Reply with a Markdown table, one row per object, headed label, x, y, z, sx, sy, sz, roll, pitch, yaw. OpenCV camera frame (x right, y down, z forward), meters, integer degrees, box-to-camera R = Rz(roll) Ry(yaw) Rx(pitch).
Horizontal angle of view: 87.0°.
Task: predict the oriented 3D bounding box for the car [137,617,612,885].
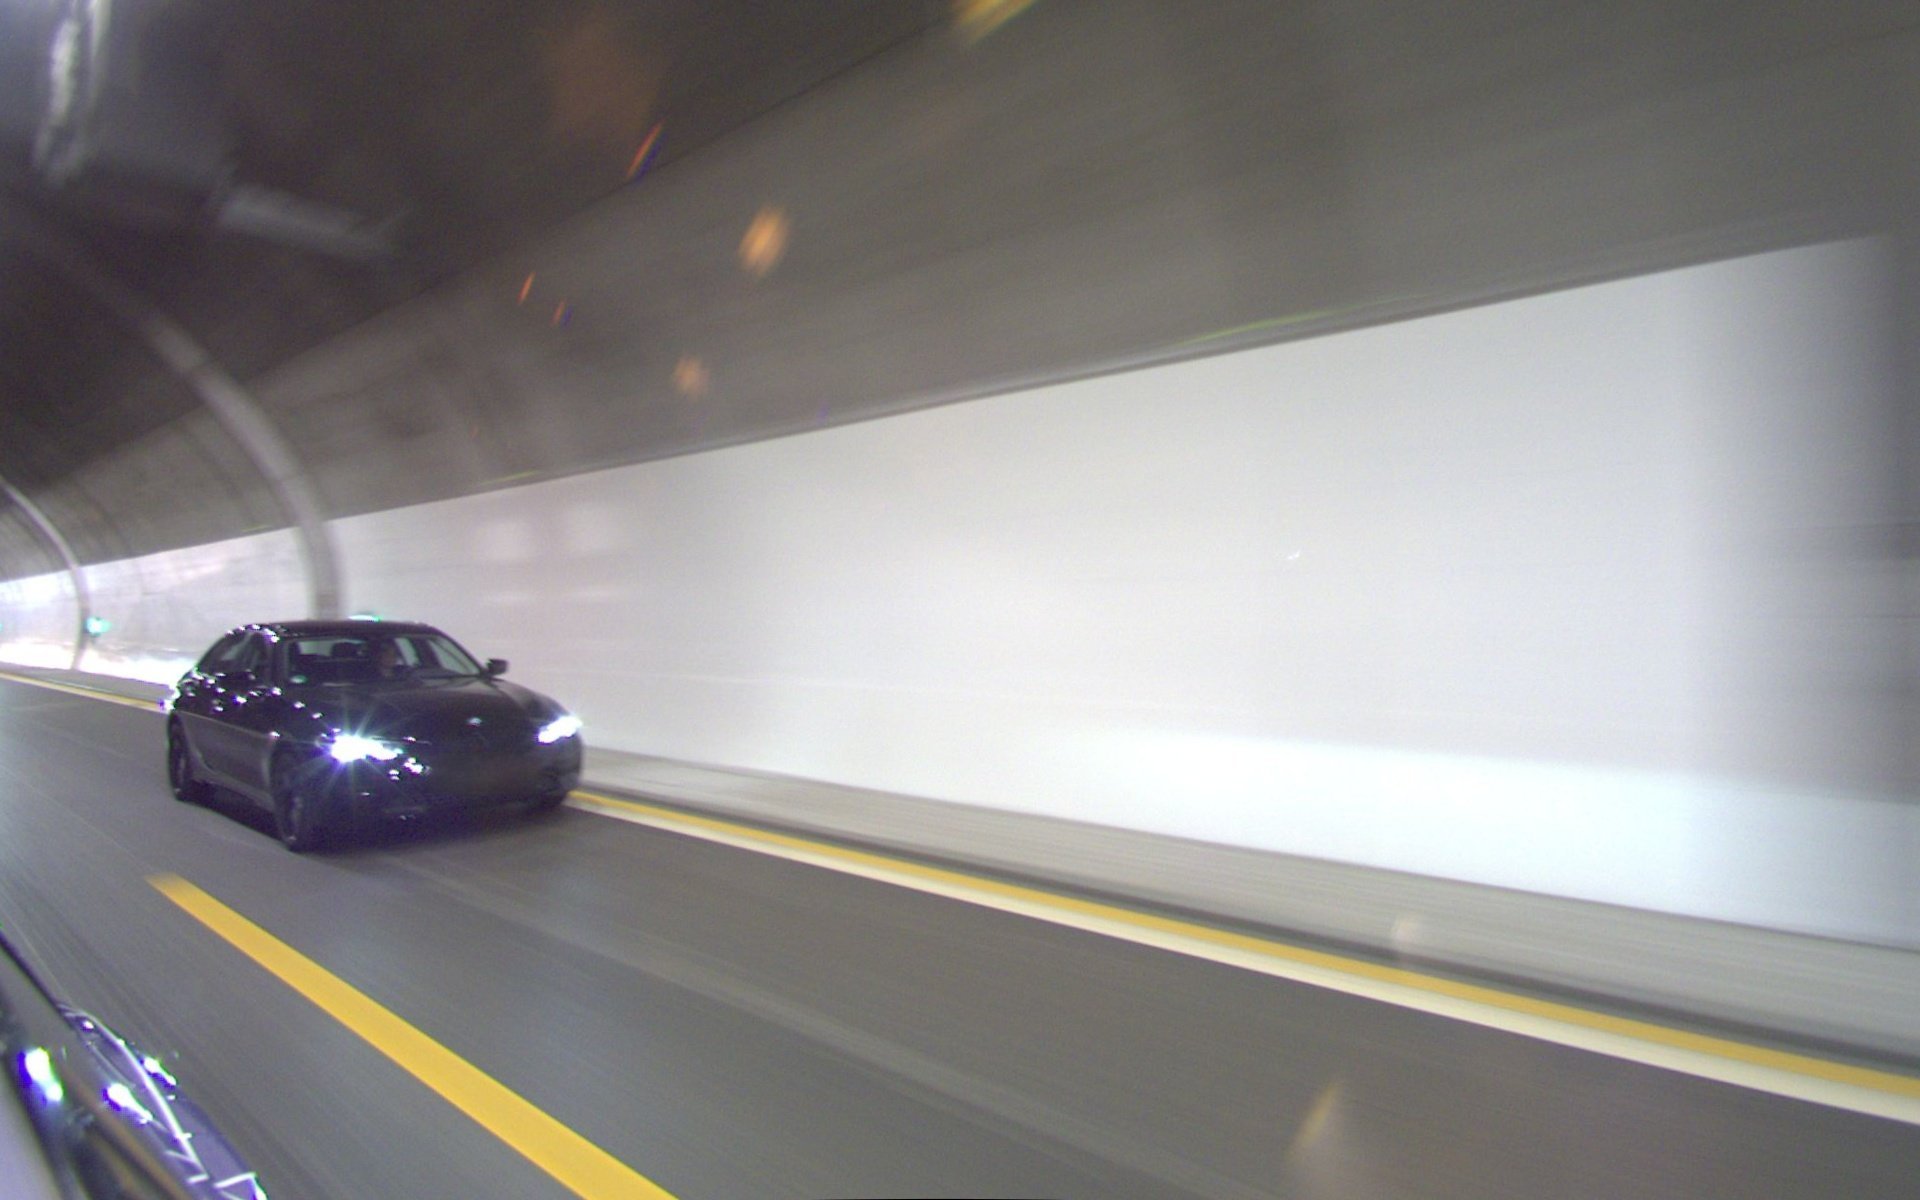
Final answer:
| label | x | y | z | sx | sy | sz | roll | pitch | yaw |
| --- | --- | --- | --- | --- | --- | --- | --- | --- | --- |
| car | -4.793 | 0.893 | 7.891 | 4.881 | 1.449 | 1.759 | -1 | -1 | 42 |
